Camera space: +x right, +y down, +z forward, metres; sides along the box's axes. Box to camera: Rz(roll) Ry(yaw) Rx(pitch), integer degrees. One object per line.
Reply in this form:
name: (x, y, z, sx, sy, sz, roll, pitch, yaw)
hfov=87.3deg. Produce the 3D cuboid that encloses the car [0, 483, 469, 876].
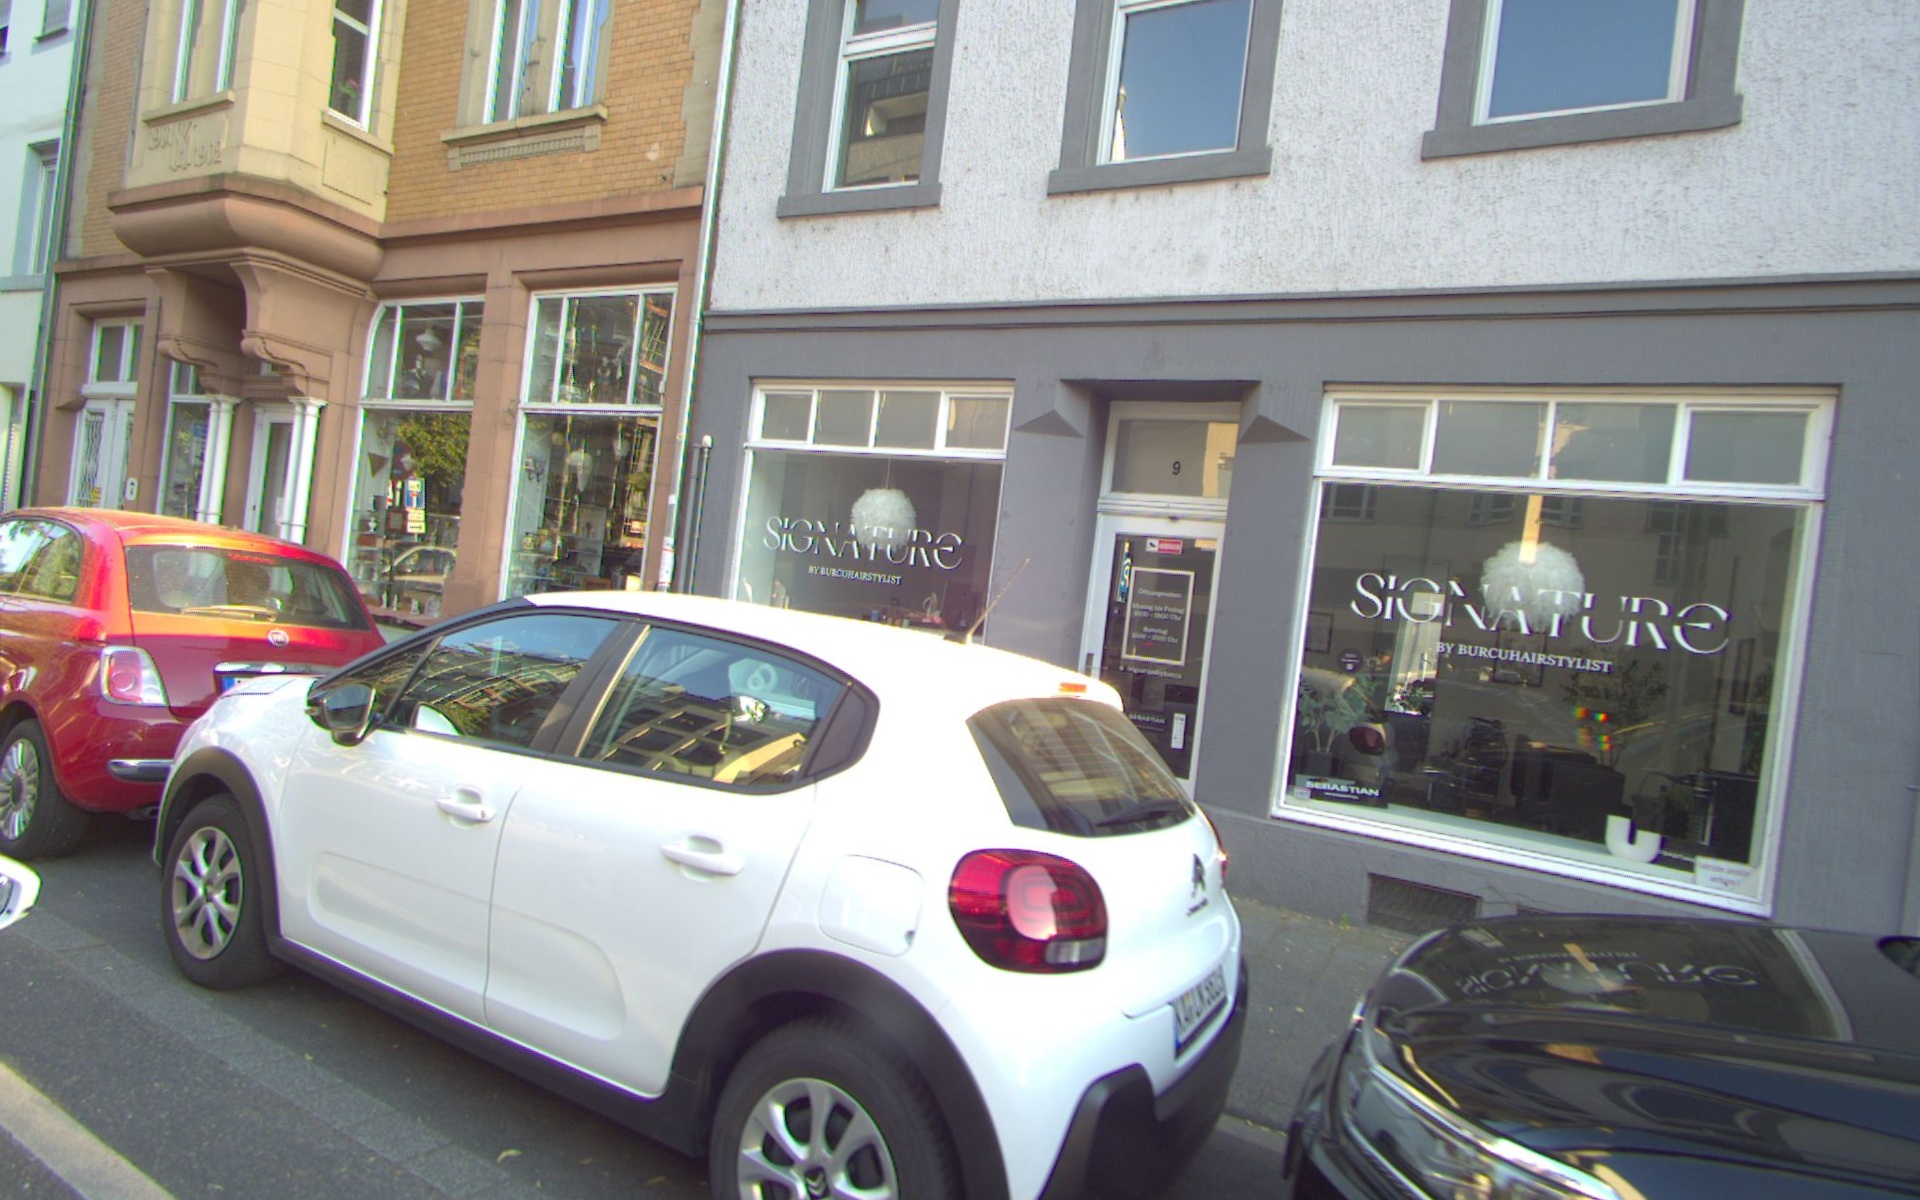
car: (-4.446, 0.251, 5.407, 3.211, 1.501, 1.591, 6, -2, 30)

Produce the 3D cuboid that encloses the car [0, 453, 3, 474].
car: (-8.908, -0.446, 6.898, 4.290, 1.715, 1.831, 6, -2, 25)

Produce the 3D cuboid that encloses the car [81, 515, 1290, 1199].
car: (-1.025, 0.646, 3.424, 3.737, 1.394, 1.671, 6, -2, 29)

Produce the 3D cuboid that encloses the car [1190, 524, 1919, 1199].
car: (2.572, 1.010, 1.271, 4.133, 1.687, 1.816, 6, -2, 29)
